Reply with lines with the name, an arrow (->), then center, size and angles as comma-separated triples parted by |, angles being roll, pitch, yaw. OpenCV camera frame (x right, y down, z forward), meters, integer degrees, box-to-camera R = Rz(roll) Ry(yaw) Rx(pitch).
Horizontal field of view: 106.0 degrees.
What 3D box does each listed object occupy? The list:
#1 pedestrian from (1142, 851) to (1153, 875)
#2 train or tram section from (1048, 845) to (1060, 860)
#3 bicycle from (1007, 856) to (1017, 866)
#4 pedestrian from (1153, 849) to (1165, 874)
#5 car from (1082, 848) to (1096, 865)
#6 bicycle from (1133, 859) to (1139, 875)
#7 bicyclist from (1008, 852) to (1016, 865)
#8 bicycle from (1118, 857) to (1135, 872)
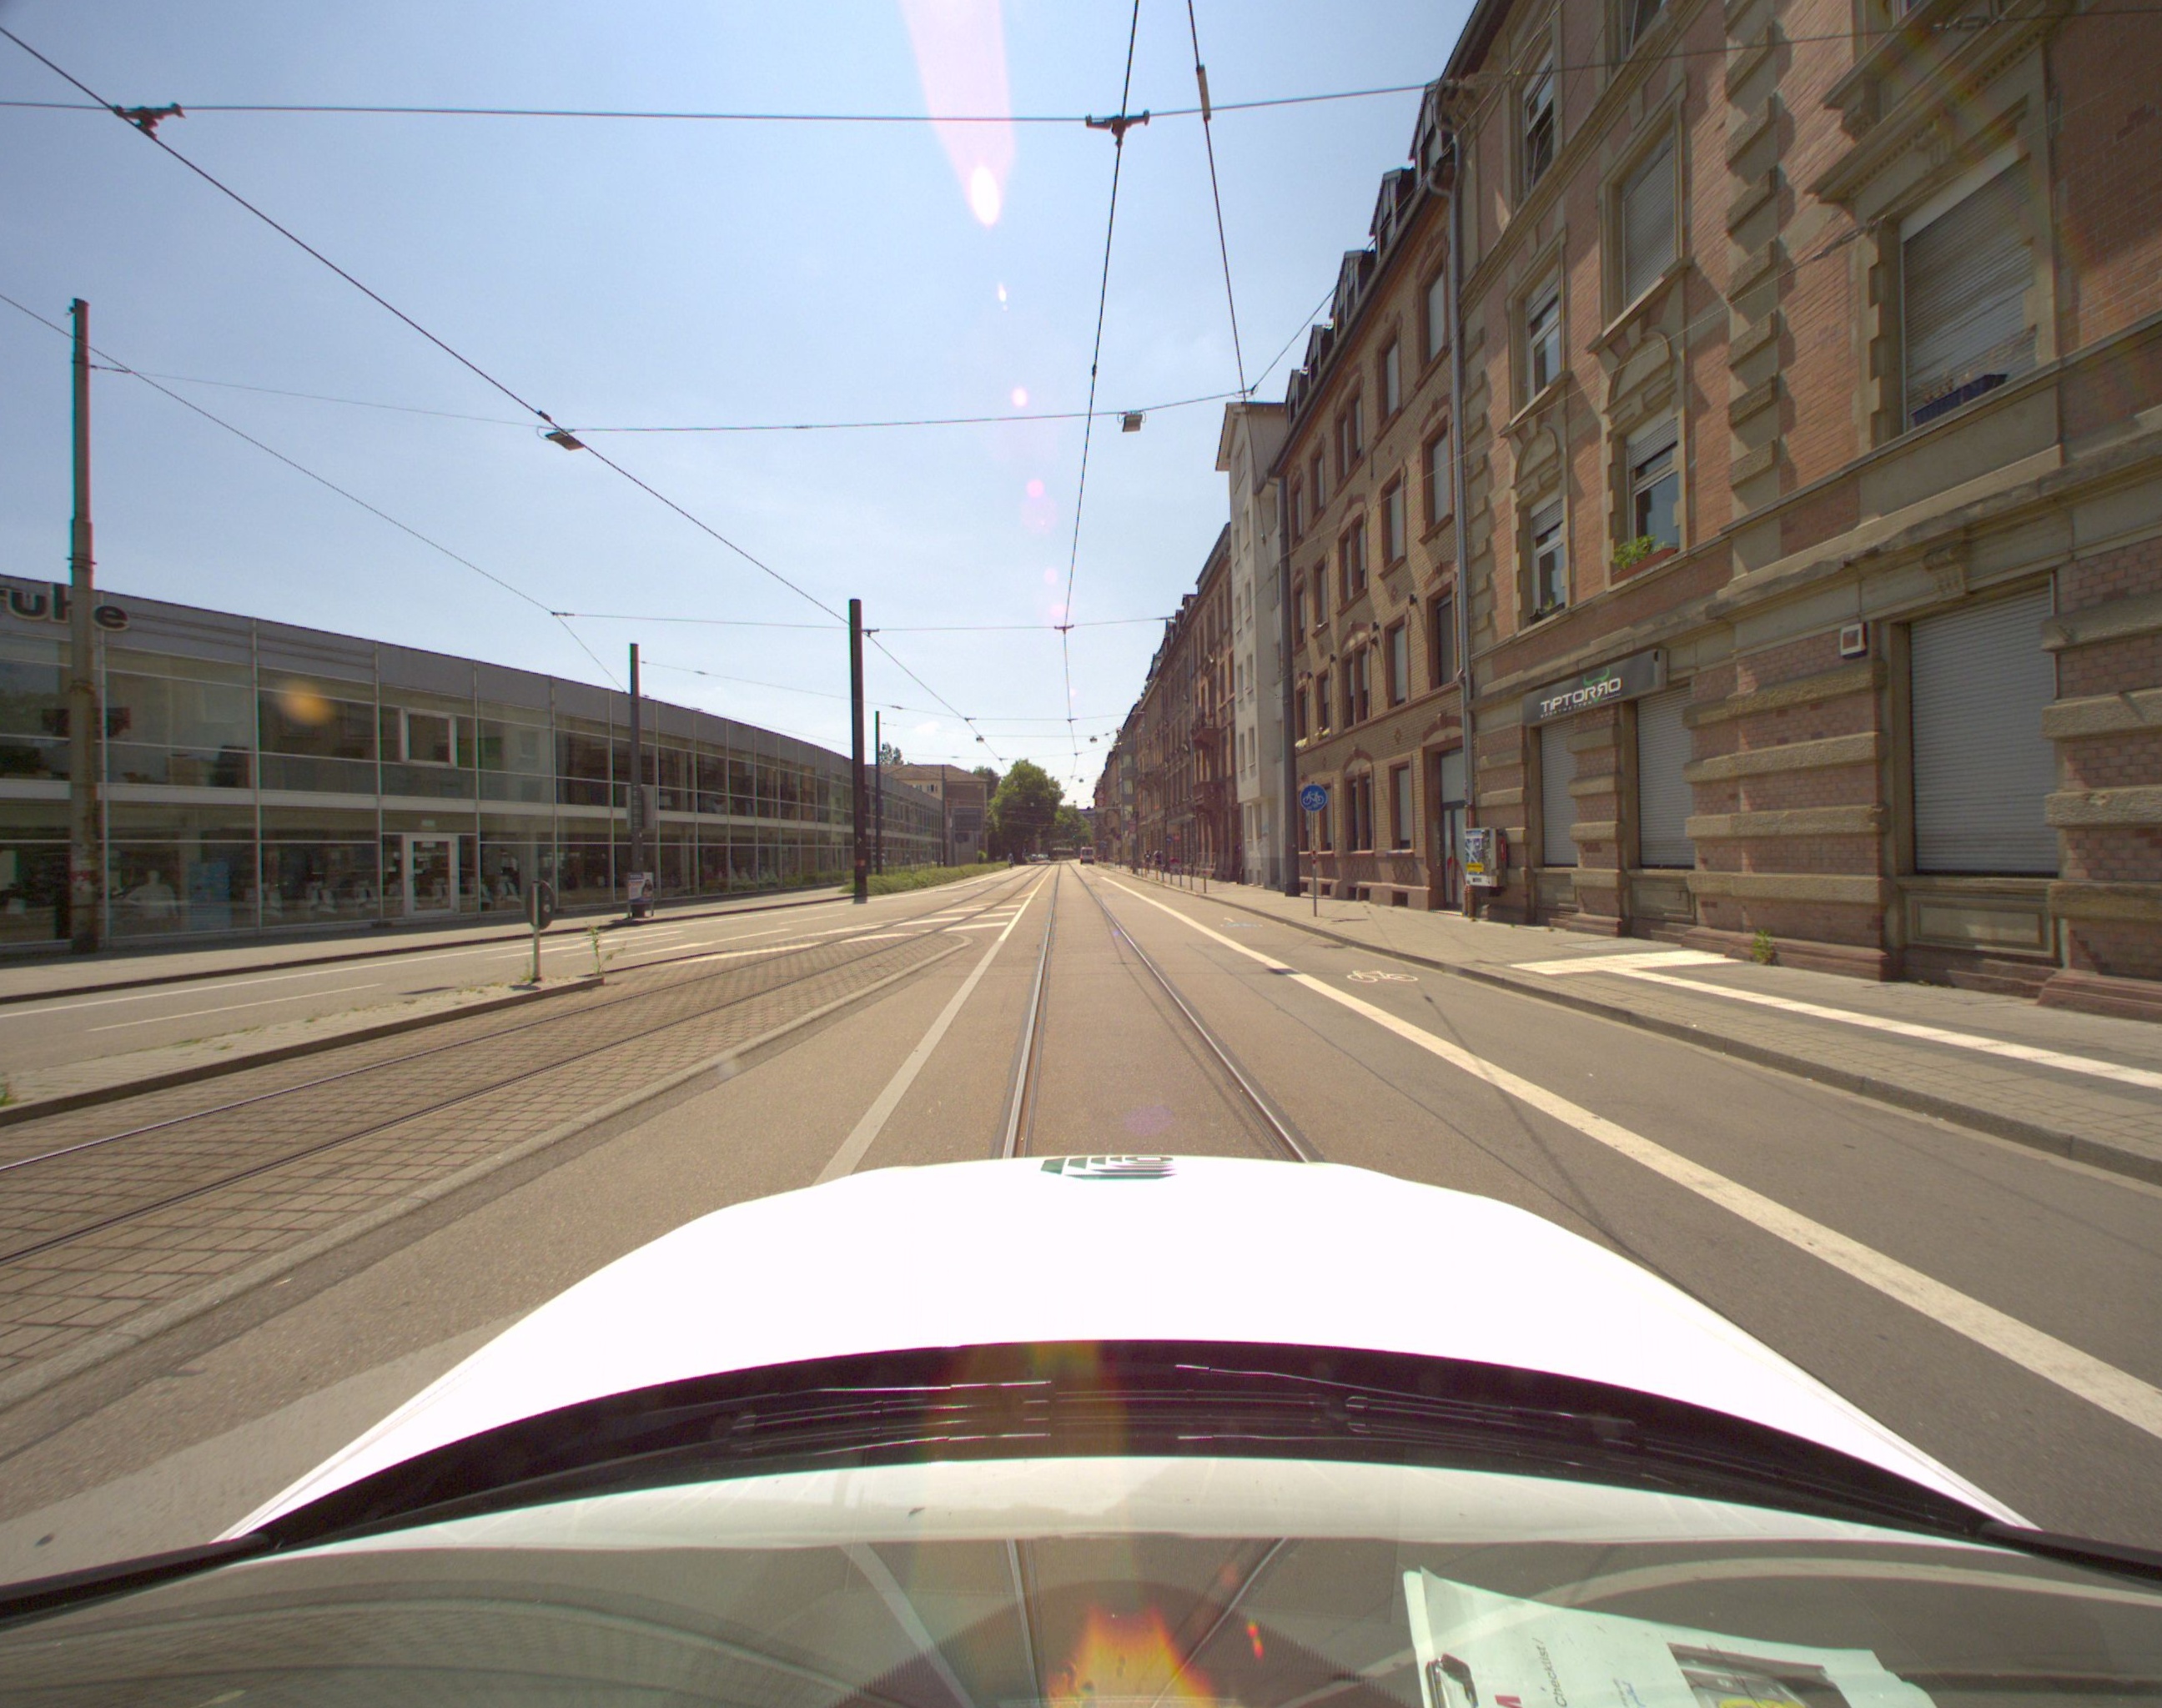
pedestrian -> 5.000, 0.680, 61.056 | 0.718, 1.720, 0.643 | -2, 0, -1
train or tram section -> -6.733, -0.290, 202.932 | 2.953, 3.580, 13.413 | -1, 0, -2
bicycle -> -8.029, 0.811, 94.268 | 0.694, 1.144, 2.499 | -2, 0, 5
pedestrian -> 5.813, 0.563, 60.974 | 0.700, 1.848, 0.643 | -5, 0, -1
car -> 1.205, 0.426, 122.403 | 2.061, 2.501, 5.453 | 0, 0, 0
bicycle -> 4.128, 0.951, 61.095 | 0.445, 1.097, 2.425 | -2, 0, 4
bicyclist -> -7.947, 0.497, 94.283 | 0.694, 1.548, 0.981 | -2, 0, 5
bicycle -> 3.794, 0.862, 68.142 | 0.494, 1.130, 2.256 | -2, 0, 27
